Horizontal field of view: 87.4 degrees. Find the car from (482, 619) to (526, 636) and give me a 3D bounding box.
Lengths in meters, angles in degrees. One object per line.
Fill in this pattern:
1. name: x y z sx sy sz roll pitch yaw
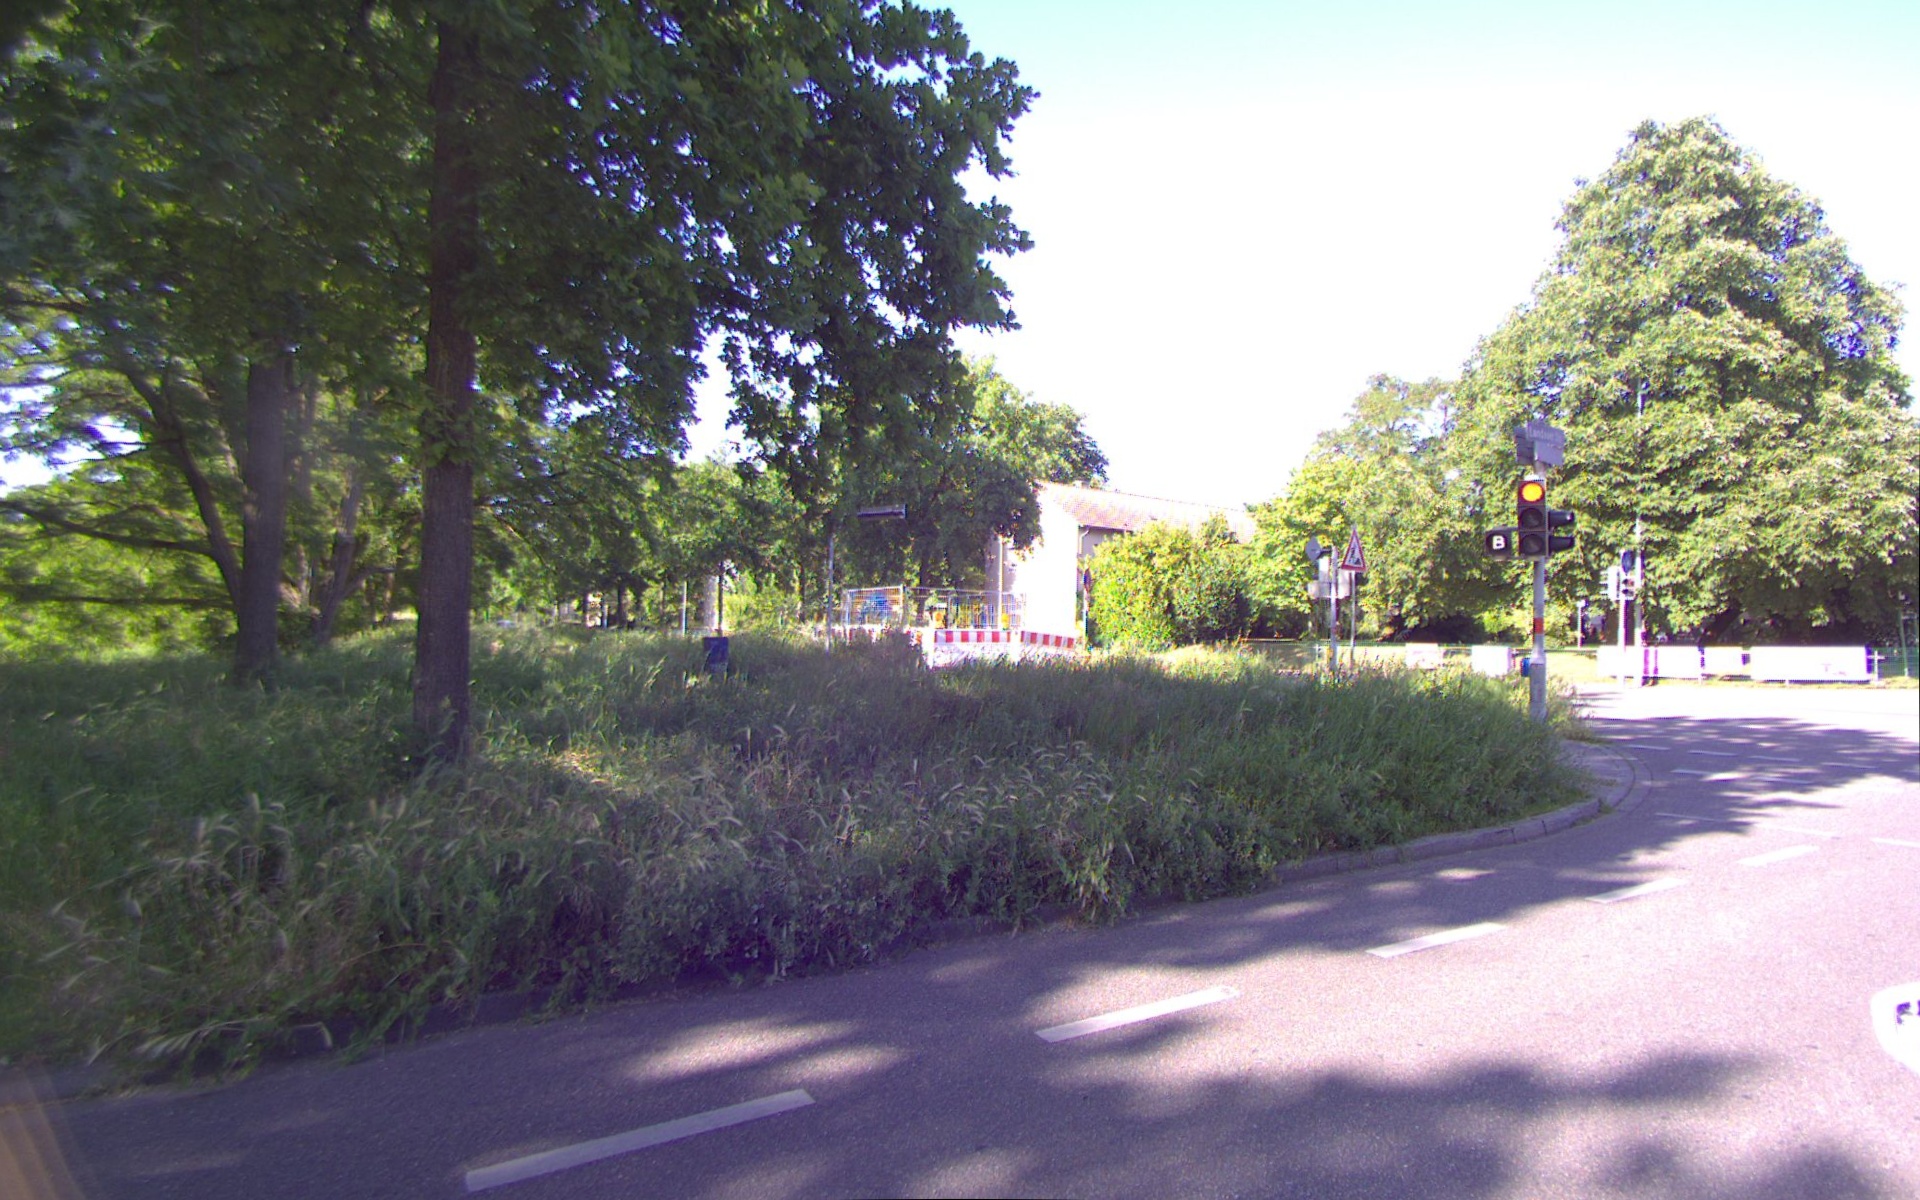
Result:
1. car: -47.387 2.867 104.488 3.939 1.673 1.991 2 0 -20
